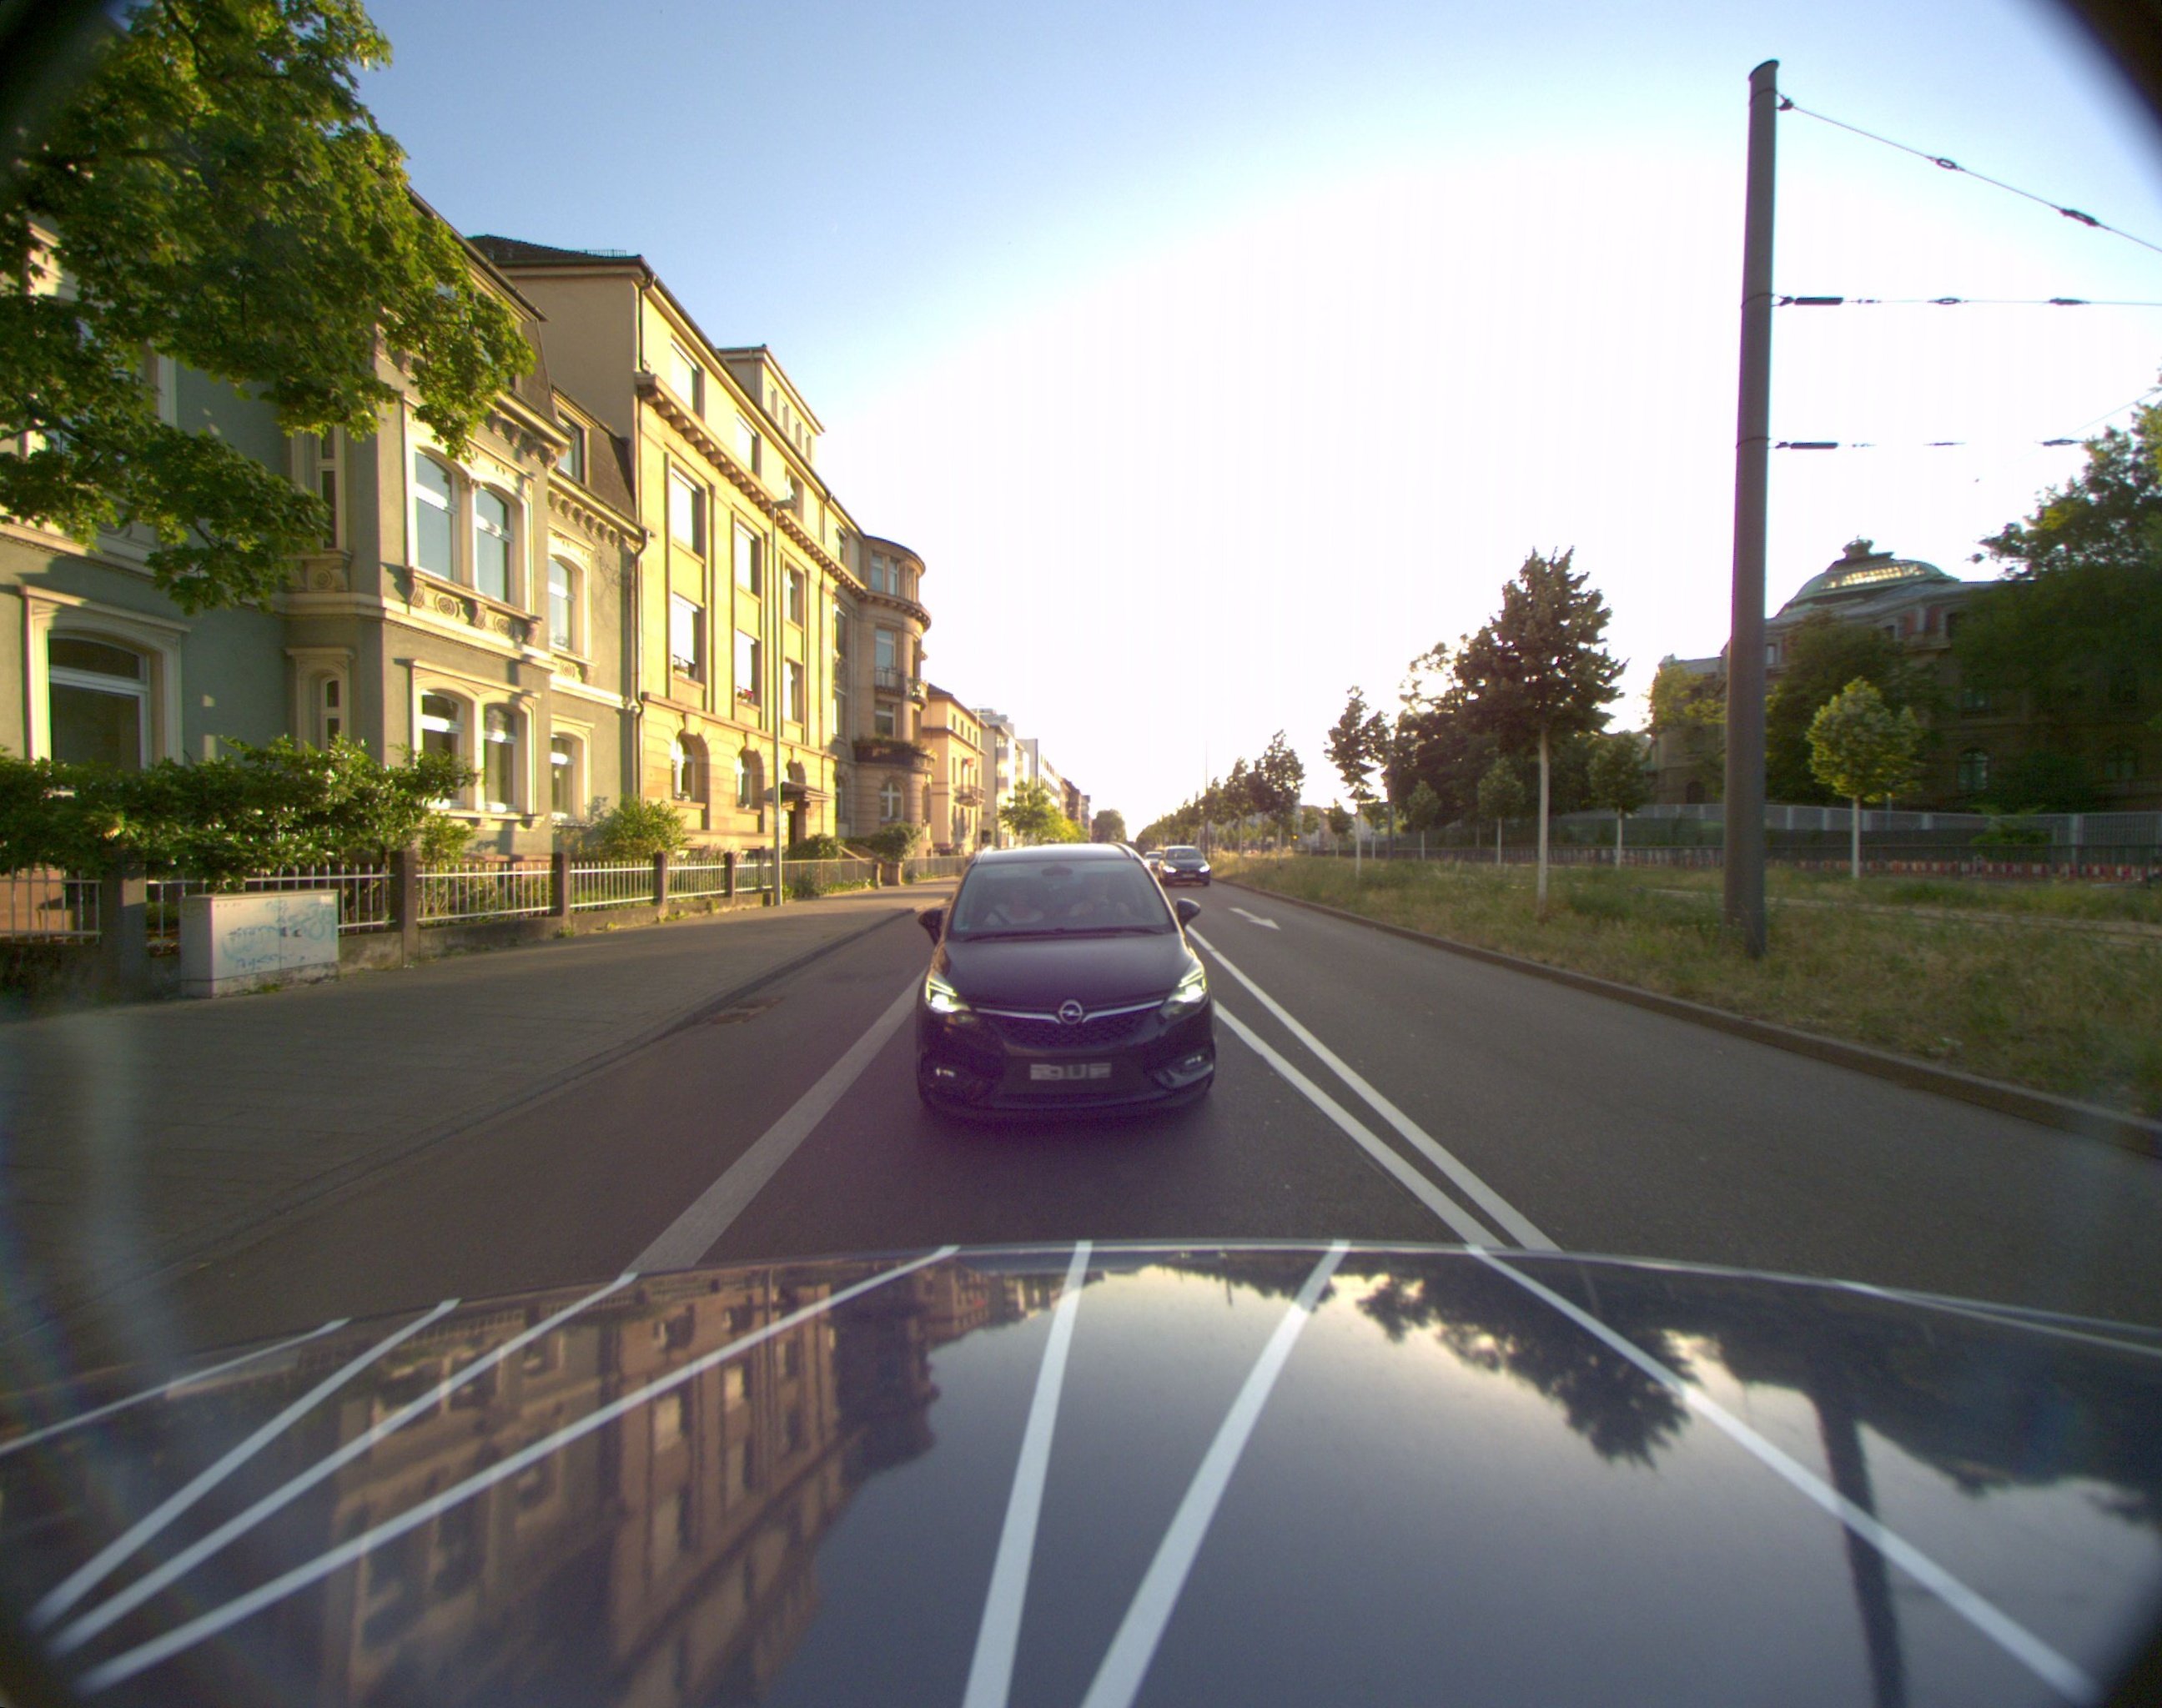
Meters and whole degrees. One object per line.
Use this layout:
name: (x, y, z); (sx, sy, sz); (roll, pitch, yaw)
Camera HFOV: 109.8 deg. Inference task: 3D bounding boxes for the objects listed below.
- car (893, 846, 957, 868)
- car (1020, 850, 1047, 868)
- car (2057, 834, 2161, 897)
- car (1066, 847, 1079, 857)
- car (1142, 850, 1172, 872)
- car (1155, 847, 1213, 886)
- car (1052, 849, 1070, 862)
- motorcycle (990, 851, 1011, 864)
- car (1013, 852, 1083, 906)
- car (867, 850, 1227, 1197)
car: (-11.021, 0.208, 53.952); (4.096, 1.472, 1.938); (-1, 1, 3)
car: (-3.862, 0.393, 62.947); (1.882, 1.394, 4.100); (-1, 0, 1)
car: (26.084, 0.234, 17.289); (1.998, 1.472, 4.523); (-2, -1, 3)
car: (-1.405, -0.364, 121.577); (1.937, 1.472, 4.100); (-1, 0, 1)
car: (5.416, 0.508, 54.693); (1.859, 1.425, 4.844); (-2, -1, 2)
car: (4.091, 0.500, 30.916); (1.859, 1.425, 4.844); (-2, -1, 2)
car: (-2.410, 0.180, 91.996); (1.937, 1.472, 4.100); (-1, 0, 1)
motorcycle: (-7.475, 0.321, 70.281); (1.848, 1.090, 0.576); (-1, 1, 8)
car: (-0.931, 0.718, 23.150); (1.859, 1.425, 4.842); (-2, -1, -1)
car: (-0.291, 0.827, 6.209); (1.771, 1.649, 4.850); (-1, 1, -3)
